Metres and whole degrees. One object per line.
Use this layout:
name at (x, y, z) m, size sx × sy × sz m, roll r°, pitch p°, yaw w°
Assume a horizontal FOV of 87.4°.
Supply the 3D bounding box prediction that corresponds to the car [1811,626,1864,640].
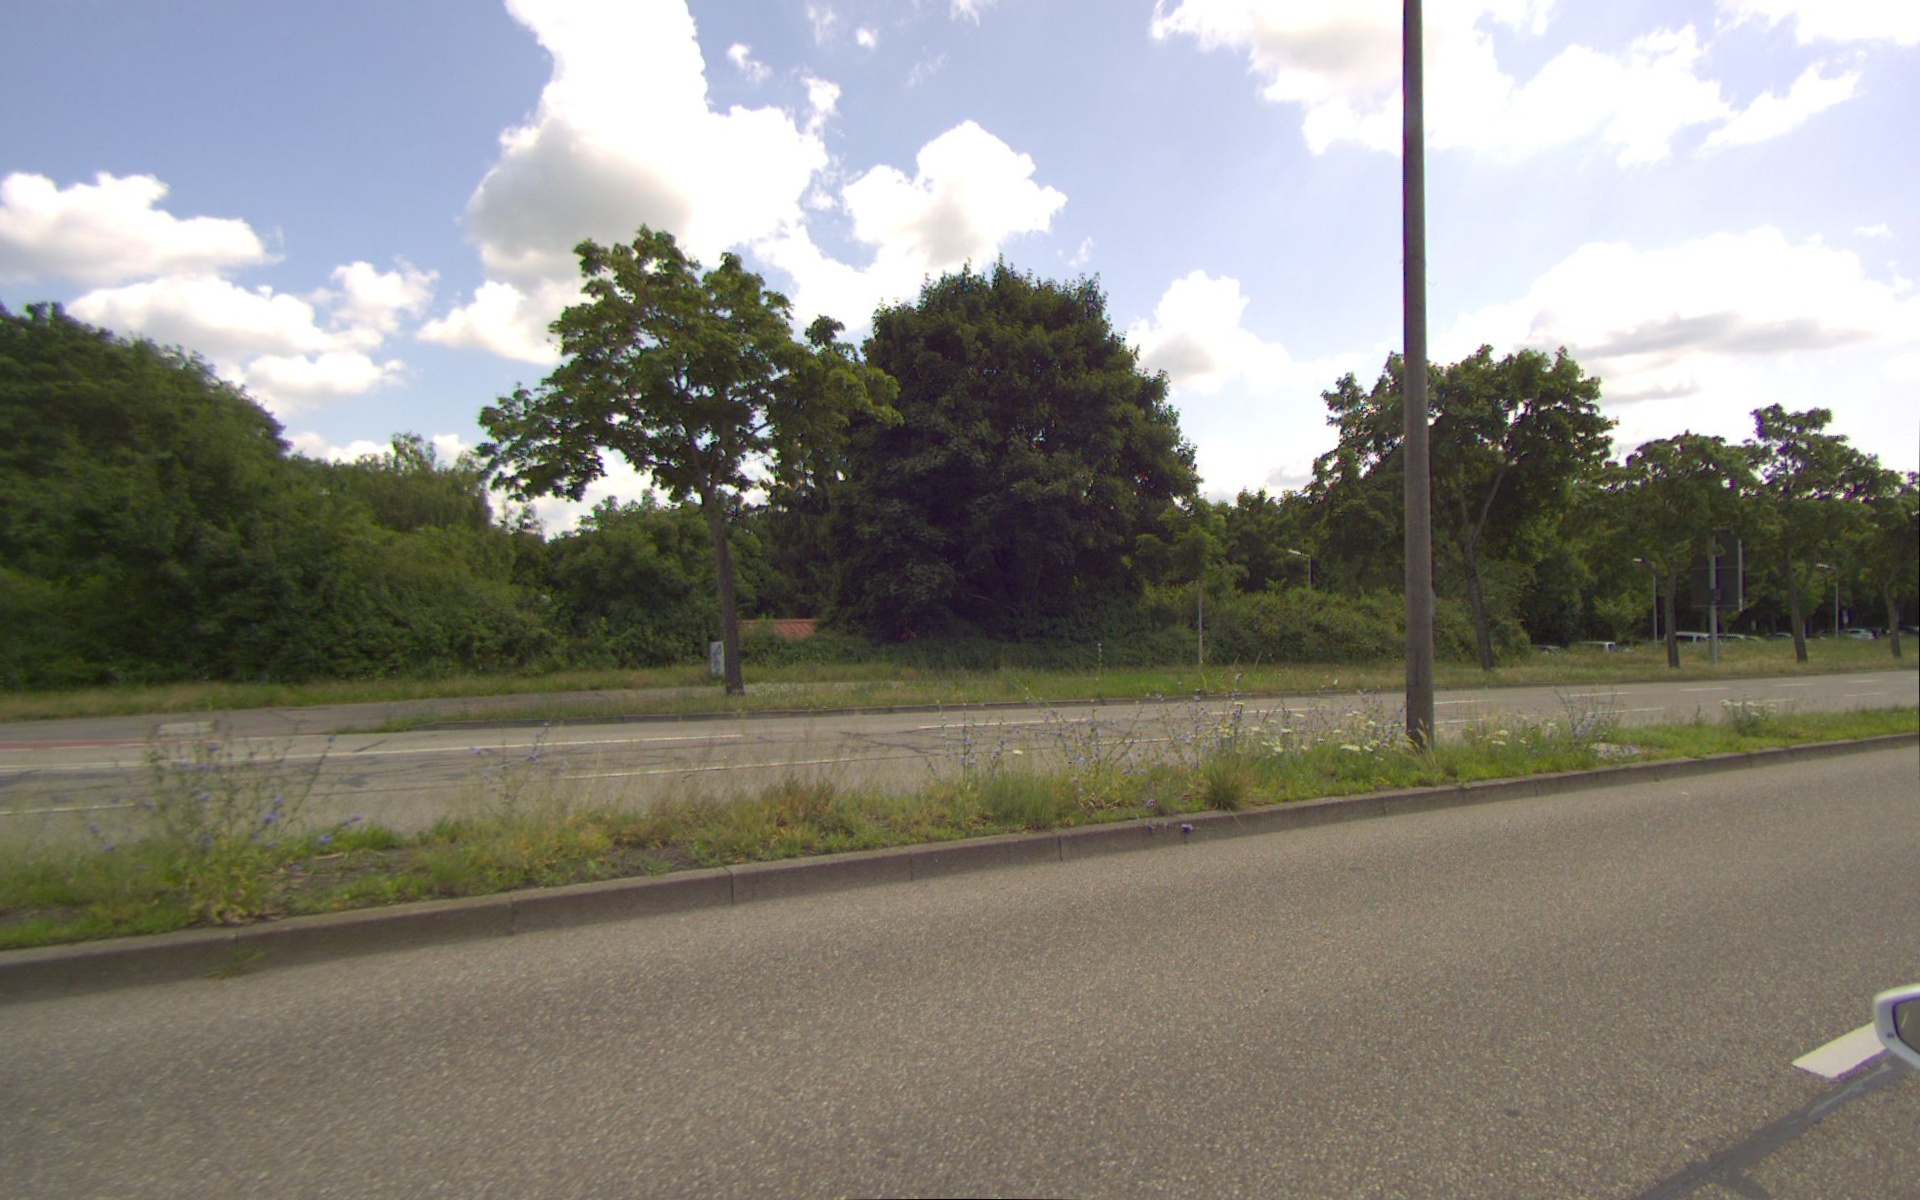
car at (91.138, 3.444, 104.376) m, size 1.765 × 1.264 × 3.765 m, roll 0°, pitch 1°, yaw -31°

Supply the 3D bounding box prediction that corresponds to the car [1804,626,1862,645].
car at (82.256, 3.330, 94.637) m, size 1.765 × 1.528 × 3.765 m, roll 0°, pitch 1°, yaw -31°

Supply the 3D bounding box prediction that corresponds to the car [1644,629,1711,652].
car at (58.255, 3.304, 81.589) m, size 1.980 × 1.647 × 3.961 m, roll 0°, pitch 1°, yaw -35°

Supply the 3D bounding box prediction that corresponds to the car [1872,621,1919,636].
car at (107.820, 3.294, 115.660) m, size 1.764 × 1.589 × 3.768 m, roll 0°, pitch 1°, yaw -29°

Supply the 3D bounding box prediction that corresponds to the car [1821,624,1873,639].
car at (93.249, 3.275, 105.659) m, size 1.766 × 1.447 × 3.762 m, roll 0°, pitch 1°, yaw -33°

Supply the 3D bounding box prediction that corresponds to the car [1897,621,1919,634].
car at (115.675, 3.336, 121.014) m, size 1.764 × 1.406 × 3.768 m, roll 0°, pitch 1°, yaw -29°

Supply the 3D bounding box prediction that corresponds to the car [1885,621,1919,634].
car at (112.307, 3.266, 118.957) m, size 1.764 × 1.406 × 3.768 m, roll 0°, pitch 1°, yaw -29°

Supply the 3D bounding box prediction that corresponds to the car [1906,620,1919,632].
car at (120.189, 3.282, 124.562) m, size 1.764 × 1.406 × 3.768 m, roll 0°, pitch 1°, yaw -29°
